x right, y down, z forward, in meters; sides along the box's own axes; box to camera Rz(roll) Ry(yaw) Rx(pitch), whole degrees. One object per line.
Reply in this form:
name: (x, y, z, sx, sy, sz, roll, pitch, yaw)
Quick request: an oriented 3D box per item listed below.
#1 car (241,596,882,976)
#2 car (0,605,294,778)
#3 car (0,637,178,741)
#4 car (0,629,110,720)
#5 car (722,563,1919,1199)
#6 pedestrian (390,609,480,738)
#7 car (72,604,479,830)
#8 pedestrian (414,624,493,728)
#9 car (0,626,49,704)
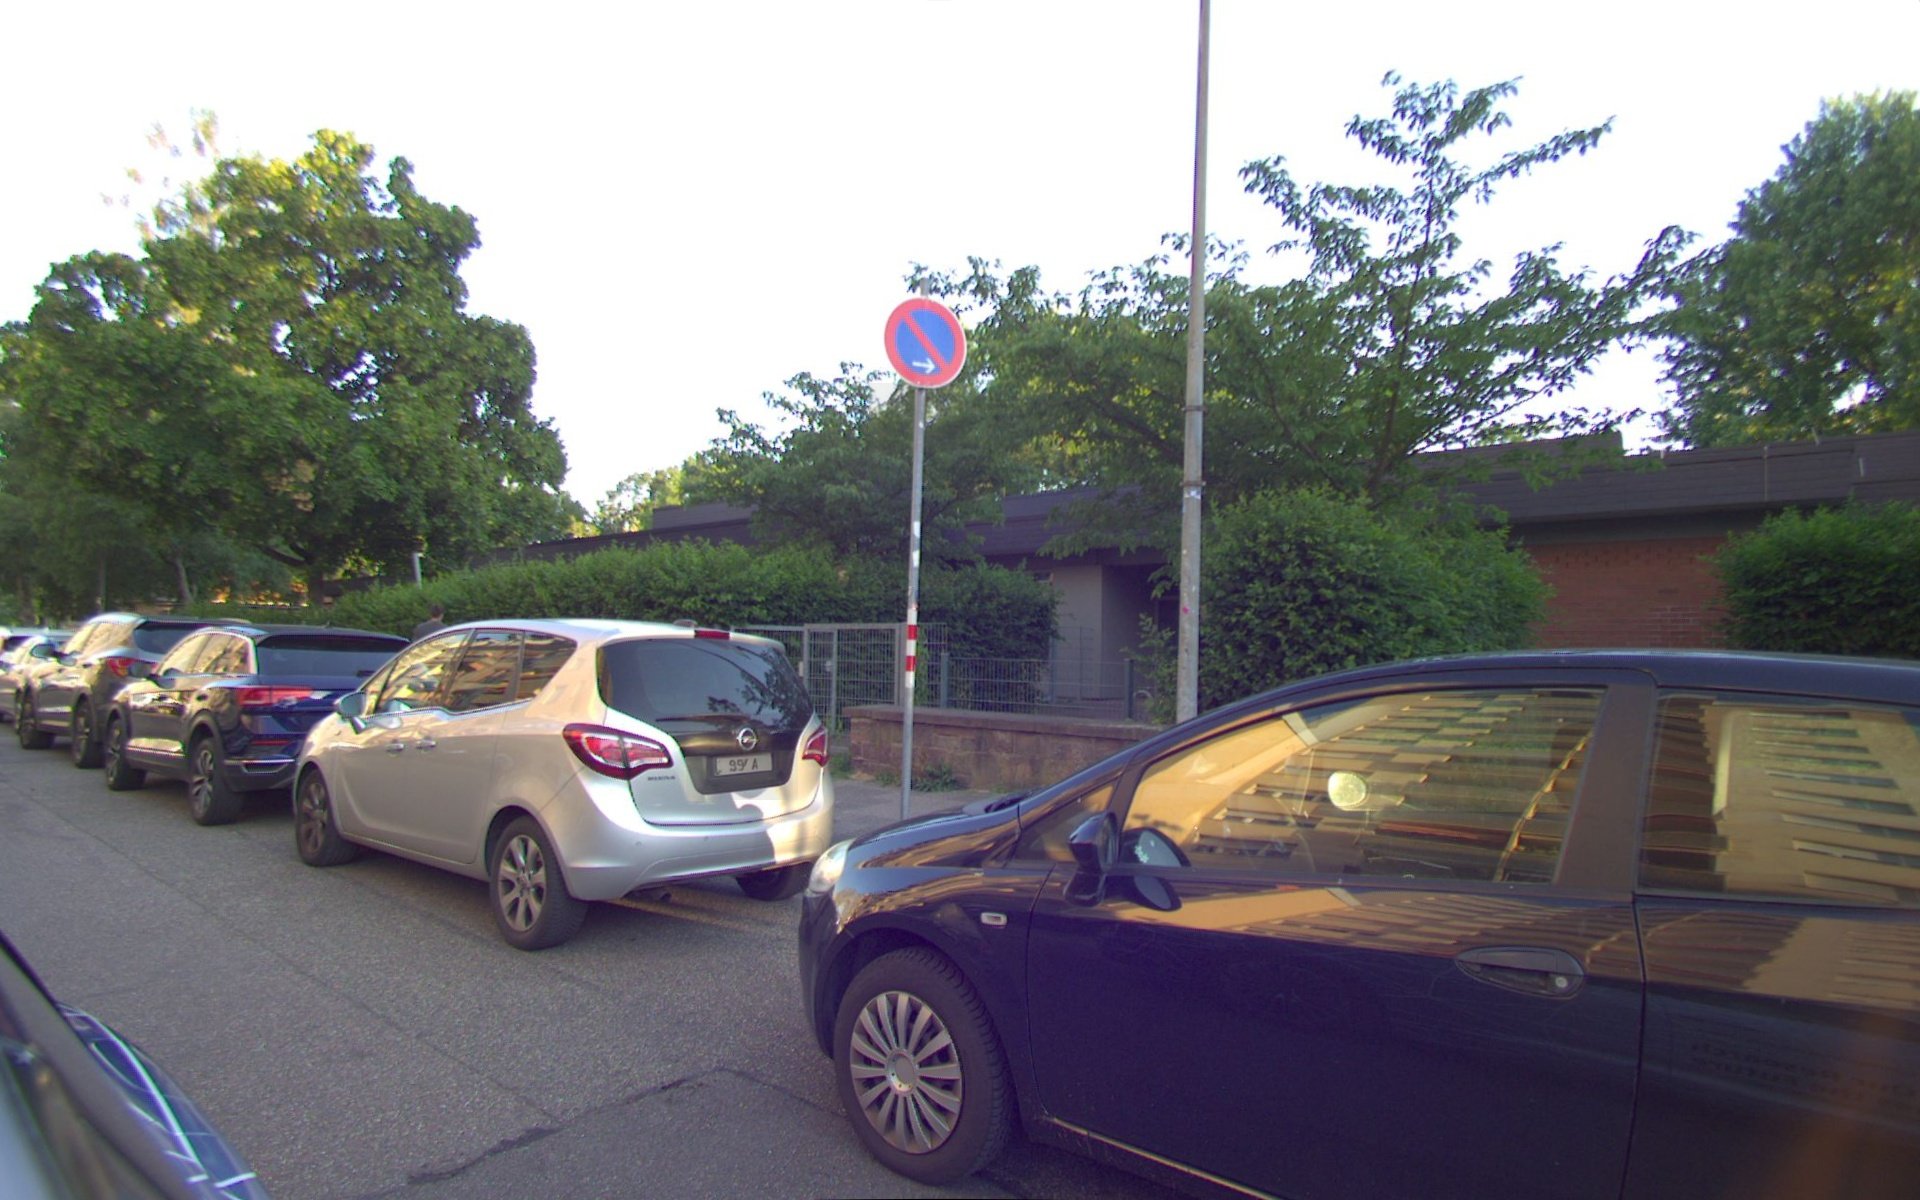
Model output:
car: (-2.597, 0.875, 6.183, 4.123, 1.579, 1.717, -2, -5, 37)
car: (-9.913, 1.030, 12.222, 4.316, 1.743, 1.717, -2, -5, 37)
car: (-14.128, 1.335, 15.972, 4.280, 1.438, 1.717, -2, -5, 37)
car: (-17.847, 1.372, 19.149, 4.273, 1.555, 1.742, -2, -5, 37)
car: (1.289, 0.808, 2.605, 3.691, 1.579, 1.717, -2, -5, 37)
pedestrian: (-7.445, 1.013, 14.368, 0.749, 1.745, 0.890, -2, -1, 38)
car: (-6.245, 0.925, 9.076, 4.160, 1.579, 1.717, -2, -5, 37)
pedestrian: (-7.759, 1.141, 15.503, 0.900, 1.519, 0.741, -2, -1, 38)
car: (-21.881, 1.430, 22.599, 3.978, 1.644, 1.715, -2, -5, 41)
